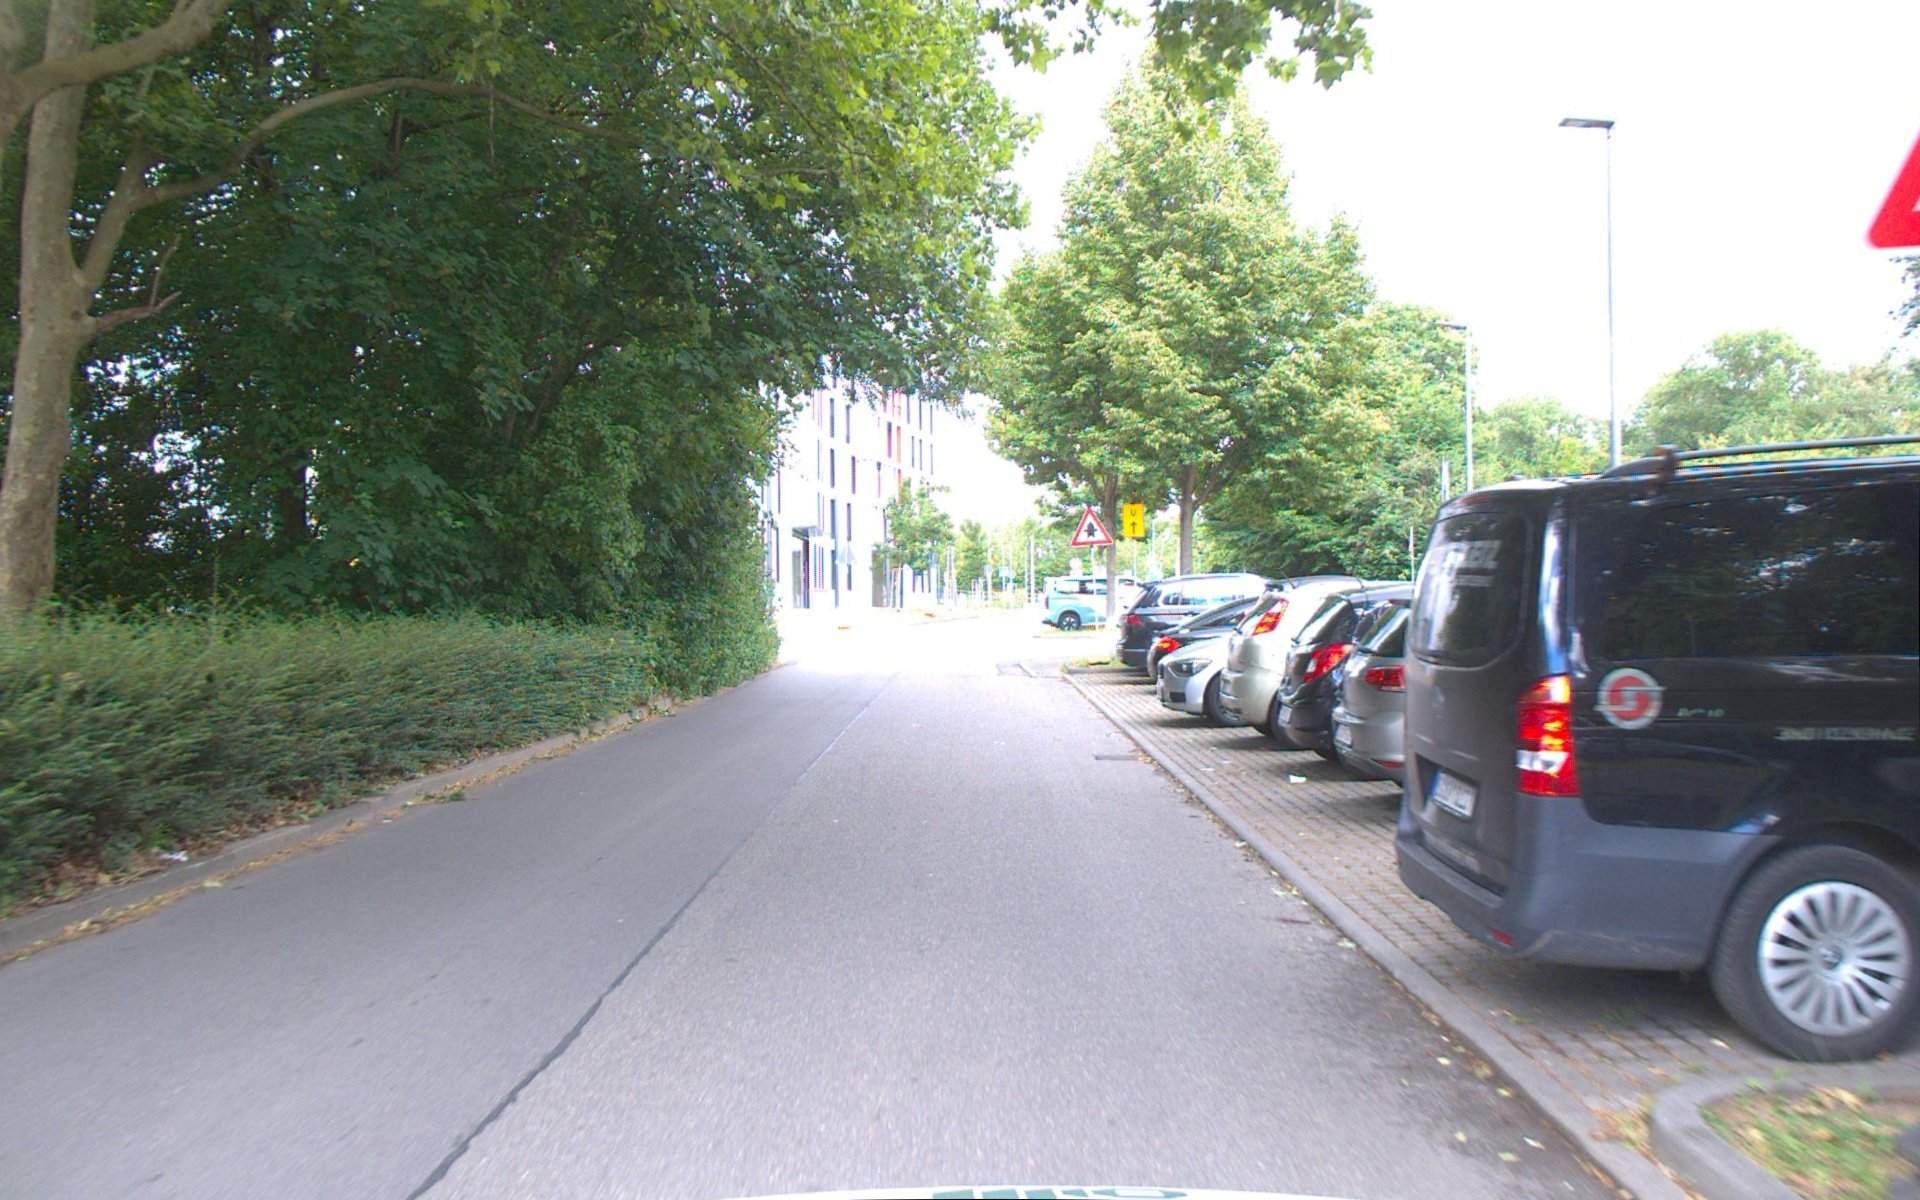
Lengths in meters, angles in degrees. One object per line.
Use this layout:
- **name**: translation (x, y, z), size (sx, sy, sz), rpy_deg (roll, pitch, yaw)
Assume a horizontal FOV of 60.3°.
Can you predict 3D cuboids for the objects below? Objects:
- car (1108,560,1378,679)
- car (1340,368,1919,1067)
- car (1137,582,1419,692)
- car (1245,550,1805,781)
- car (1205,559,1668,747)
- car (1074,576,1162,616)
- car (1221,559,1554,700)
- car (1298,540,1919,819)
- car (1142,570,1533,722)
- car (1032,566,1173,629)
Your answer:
- **car**: translation (4.431, 0.310, 26.437), size (4.037, 1.678, 1.981), rpy_deg (-2, -1, 4)
- **car**: translation (4.087, 0.256, 6.045), size (4.852, 2.048, 2.166), rpy_deg (-3, 0, 1)
- **car**: translation (4.493, 0.519, 23.824), size (3.752, 1.382, 1.823), rpy_deg (-2, -1, 4)
- **car**: translation (4.397, 0.491, 13.337), size (3.879, 1.537, 1.764), rpy_deg (-3, 0, 2)
- **car**: translation (4.459, 0.486, 15.937), size (3.905, 1.554, 1.811), rpy_deg (-2, -1, 1)
- **car**: translation (7.885, -0.204, 82.523), size (4.286, 1.937, 1.938), rpy_deg (0, 0, 5)
- **car**: translation (5.389, 0.369, 21.207), size (3.754, 1.585, 1.819), rpy_deg (-2, -1, 0)
- **car**: translation (4.405, 0.479, 11.097), size (3.879, 1.537, 1.794), rpy_deg (-3, 0, 1)
- **car**: translation (4.115, 0.498, 18.542), size (3.905, 1.455, 1.935), rpy_deg (-2, -1, 0)
- **car**: translation (5.048, -0.106, 59.172), size (4.870, 2.006, 1.847), rpy_deg (-2, 0, 1)
